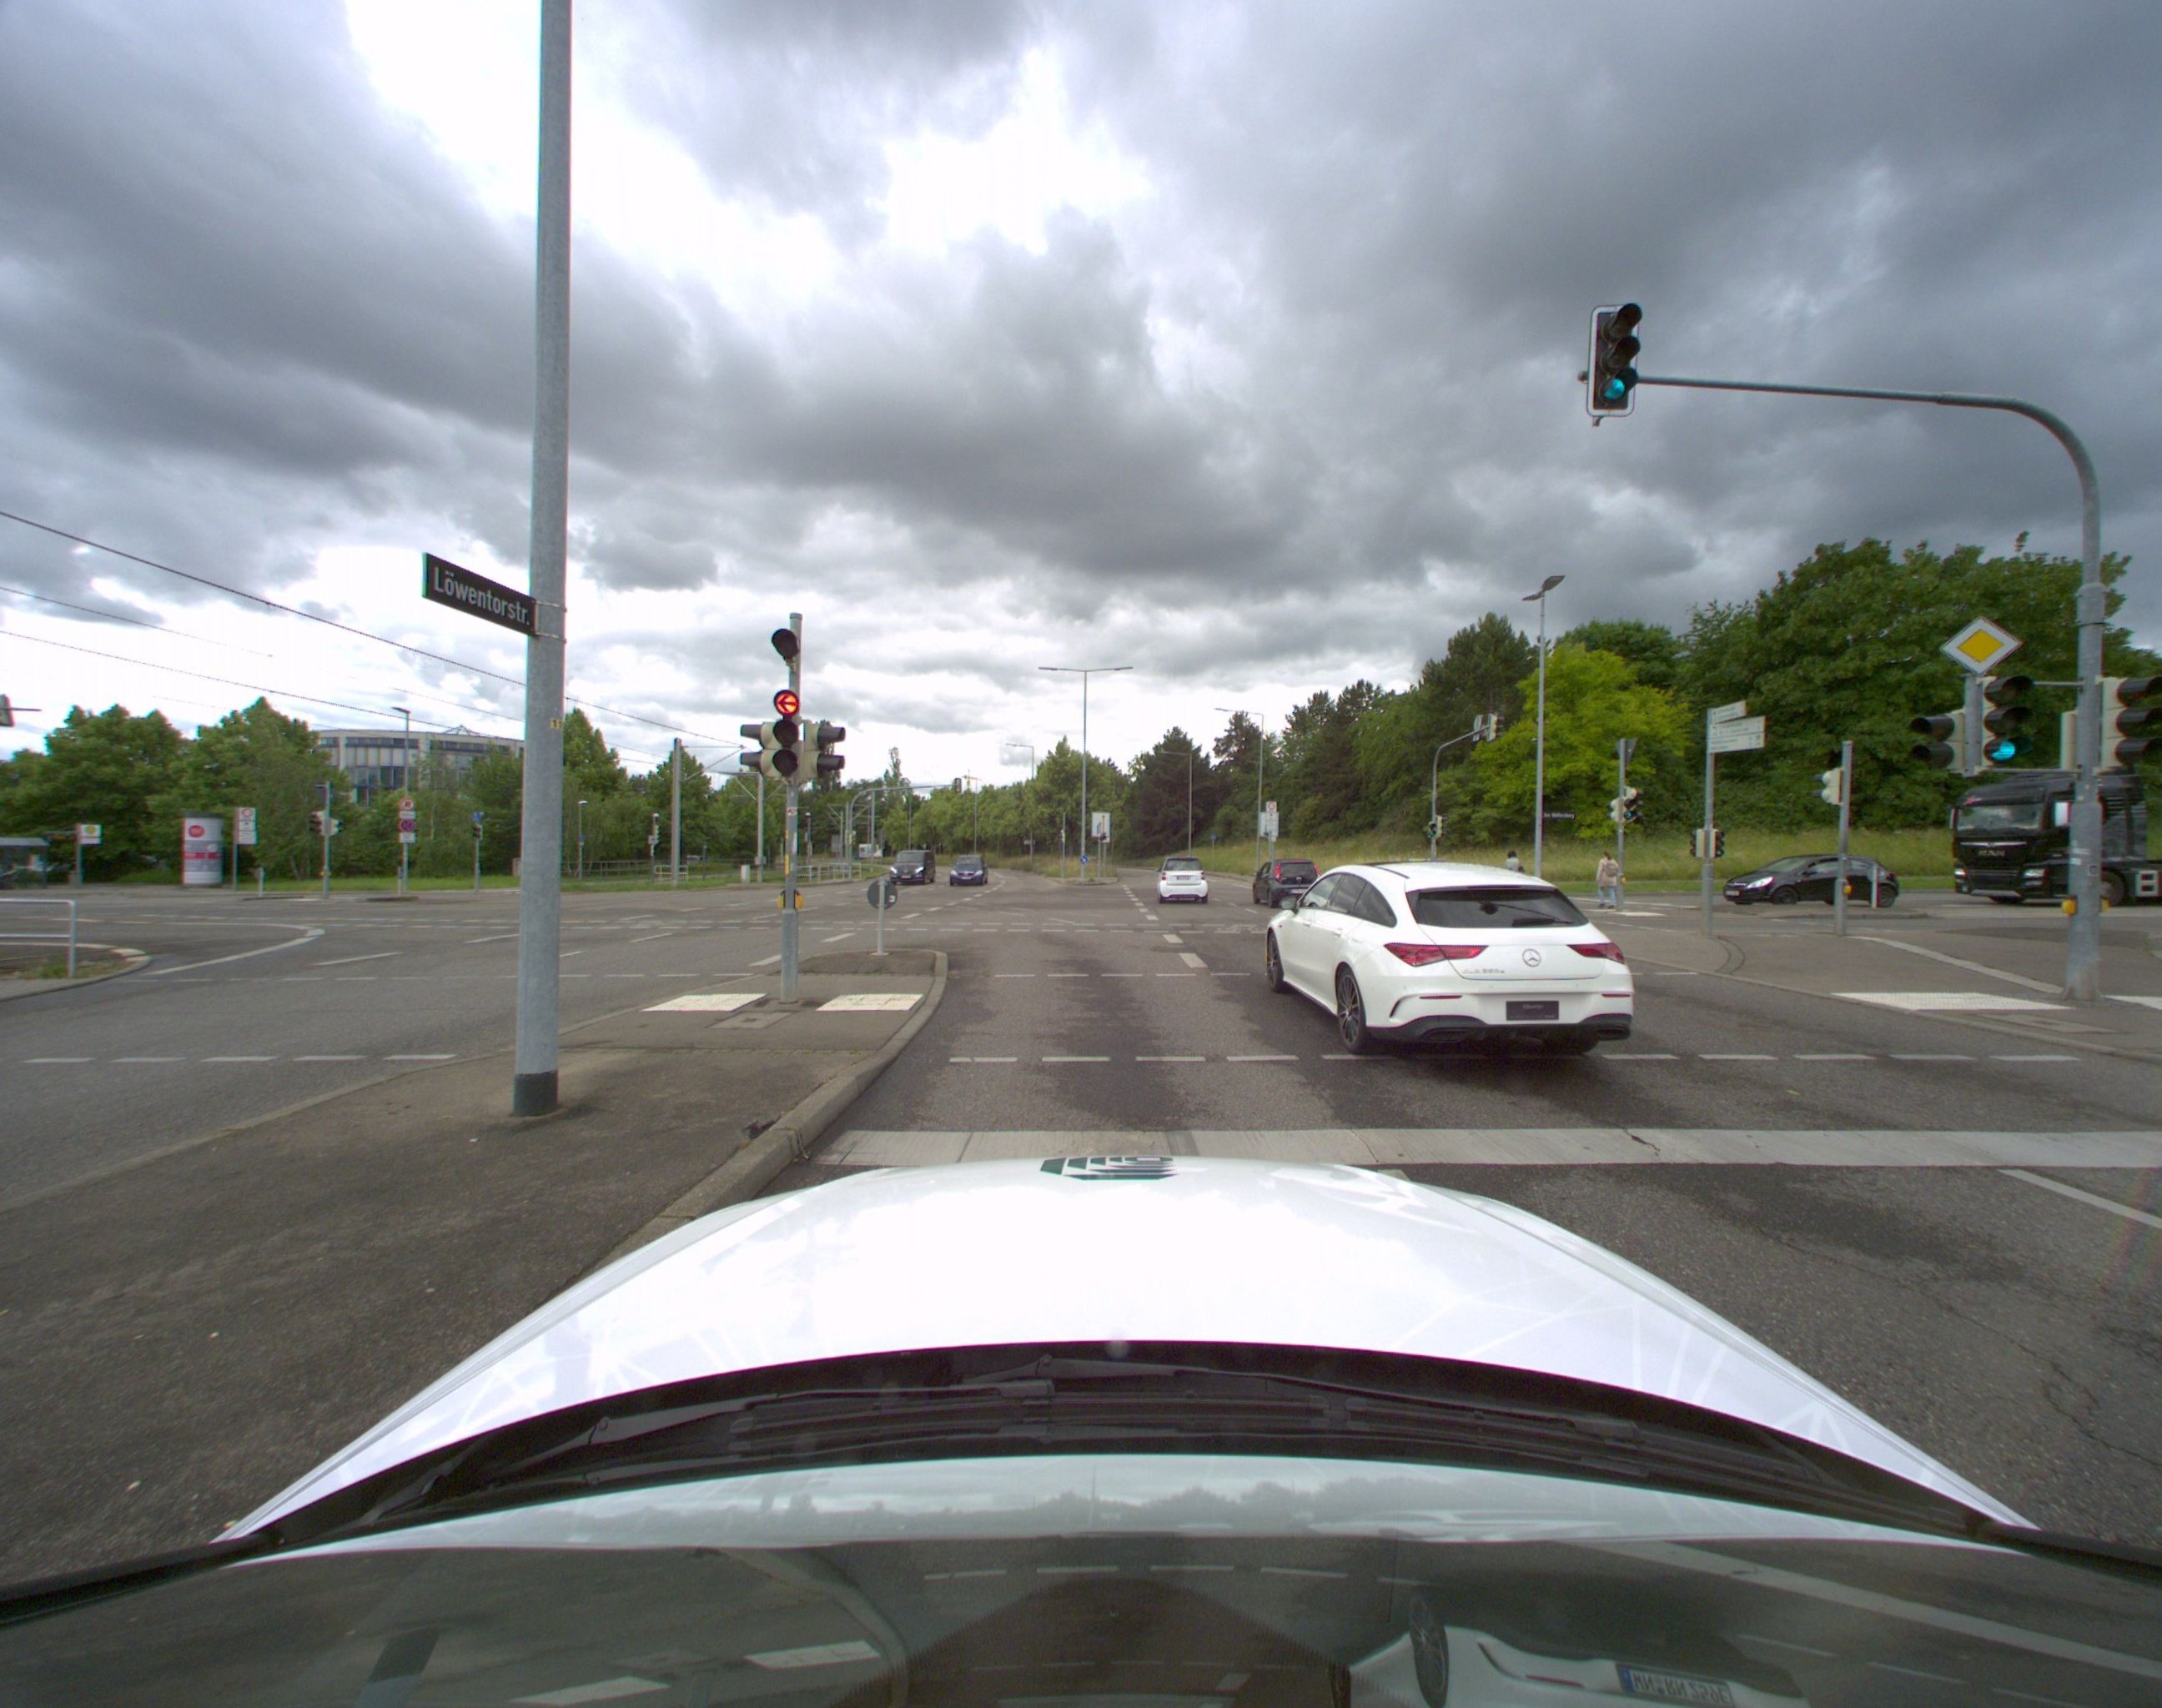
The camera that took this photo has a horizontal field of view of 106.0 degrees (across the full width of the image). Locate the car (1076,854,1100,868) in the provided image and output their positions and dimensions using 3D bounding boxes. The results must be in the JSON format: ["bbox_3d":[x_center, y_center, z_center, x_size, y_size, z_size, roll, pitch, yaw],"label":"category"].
[{"bbox_3d":[0.801,0.831,95.927,1.788,1.603,3.866,0,-1,-16],"label":"car"}]

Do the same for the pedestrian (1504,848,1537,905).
[{"bbox_3d":[13.008,0.666,24.099,0.640,1.662,0.715,-1,-1,8],"label":"pedestrian"}]

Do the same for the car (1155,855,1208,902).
[{"bbox_3d":[3.338,0.802,27.449,1.585,1.516,2.768,0,-1,3],"label":"car"}]

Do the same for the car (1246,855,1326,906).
[{"bbox_3d":[6.248,0.784,25.208,1.607,1.453,3.883,0,-1,2],"label":"car"}]

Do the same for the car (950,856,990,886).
[{"bbox_3d":[-5.858,0.862,43.329,1.732,1.508,3.656,0,-1,-3],"label":"car"}]

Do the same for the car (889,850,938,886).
[{"bbox_3d":[-9.232,0.741,45.278,1.883,1.812,5.087,-1,0,-3],"label":"car"}]

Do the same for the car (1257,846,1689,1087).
[{"bbox_3d":[2.946,0.728,7.382,1.837,1.506,4.532,0,-1,2],"label":"car"}]

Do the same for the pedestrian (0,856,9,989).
[{"bbox_3d":[-12.784,0.792,9.101,0.632,1.536,0.719,0,-1,-2],"label":"pedestrian"}]

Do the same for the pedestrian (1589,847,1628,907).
[{"bbox_3d":[14.426,0.624,22.275,0.640,1.612,0.715,0,-1,7],"label":"pedestrian"}]

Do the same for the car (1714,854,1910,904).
[{"bbox_3d":[20.298,0.680,22.736,3.859,1.338,1.698,0,-1,4],"label":"car"}]

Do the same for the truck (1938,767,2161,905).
[{"bbox_3d":[27.991,-0.480,22.279,5.971,3.486,2.694,-1,-1,4],"label":"truck"}]

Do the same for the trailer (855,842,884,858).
[{"bbox_3d":[-41.621,-0.838,160.144,6.010,3.012,2.772,-1,-1,42],"label":"trailer"}]
